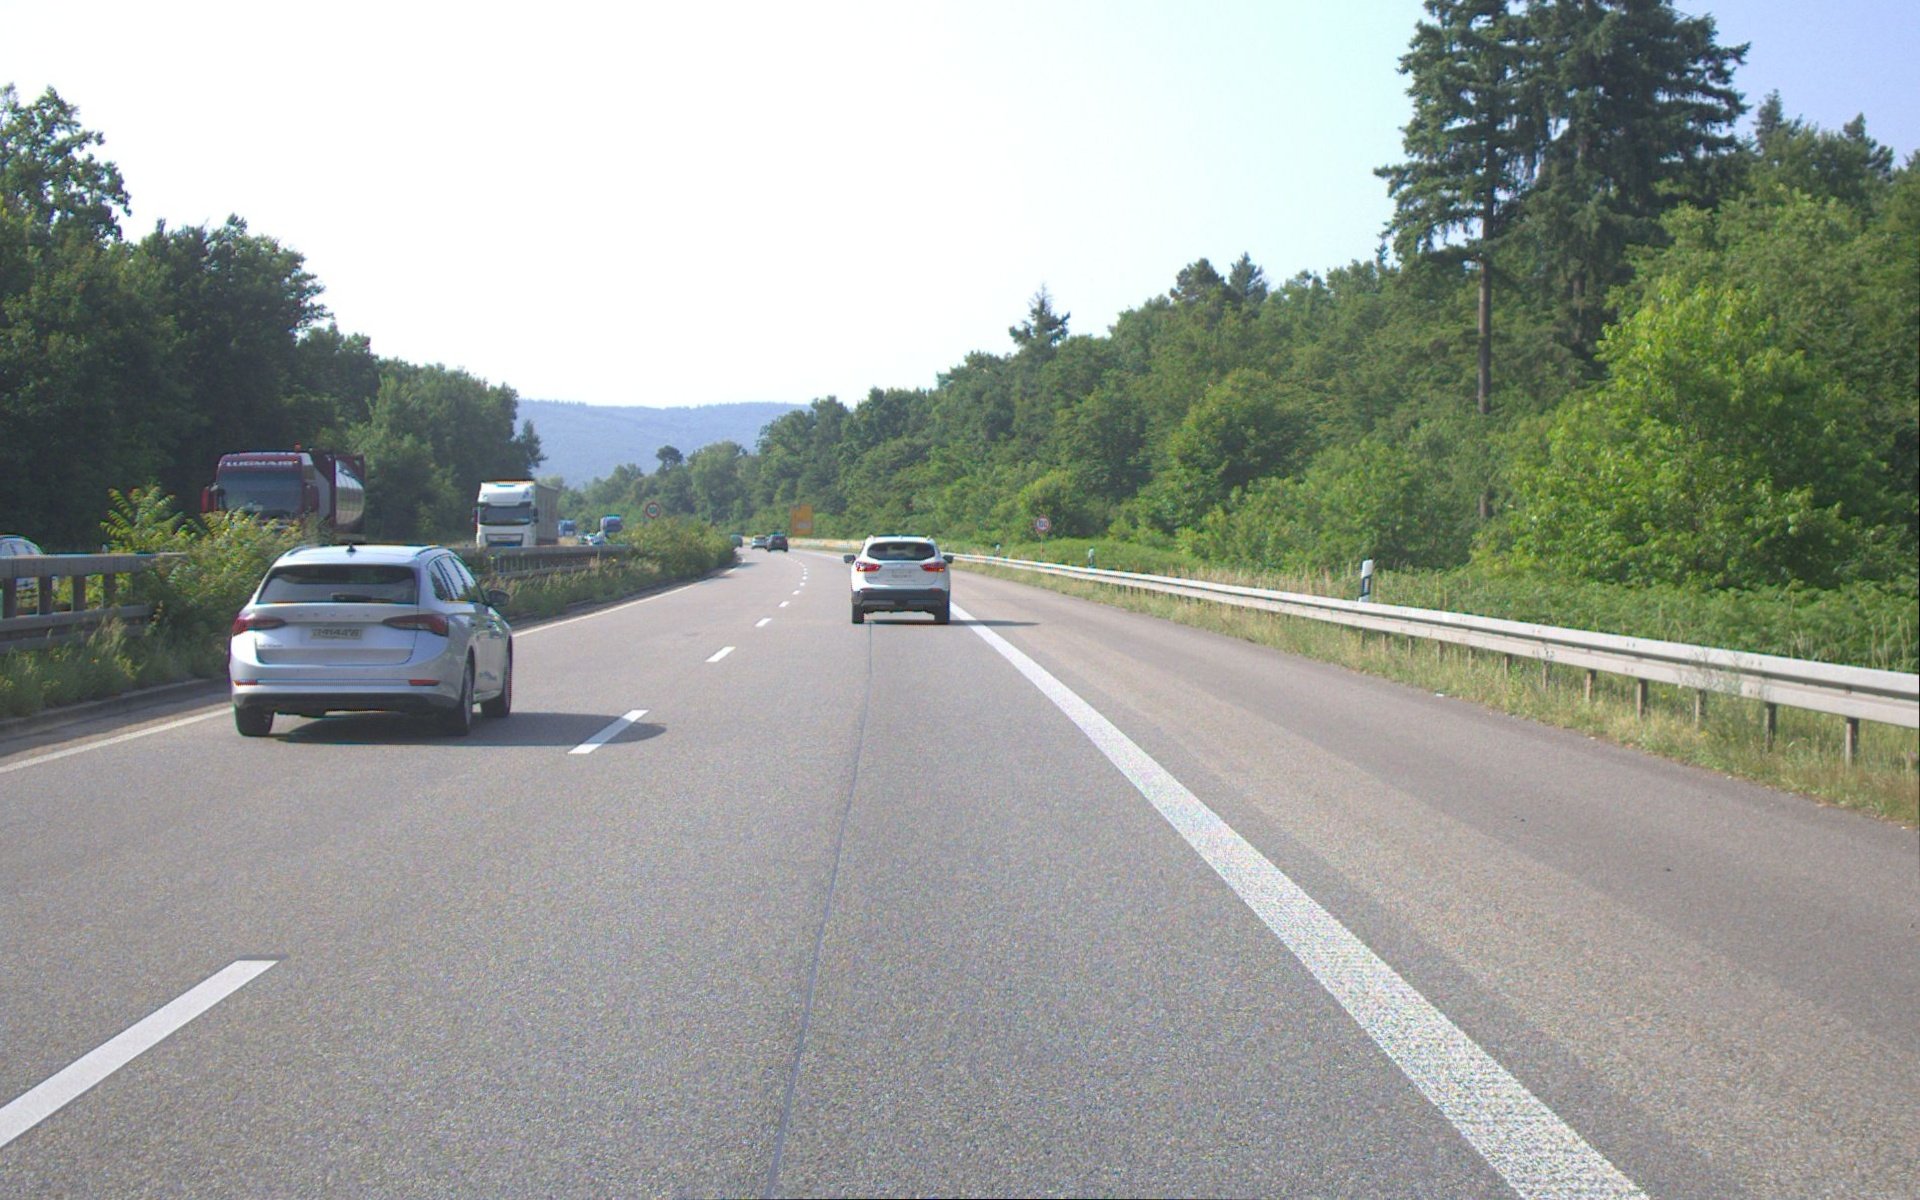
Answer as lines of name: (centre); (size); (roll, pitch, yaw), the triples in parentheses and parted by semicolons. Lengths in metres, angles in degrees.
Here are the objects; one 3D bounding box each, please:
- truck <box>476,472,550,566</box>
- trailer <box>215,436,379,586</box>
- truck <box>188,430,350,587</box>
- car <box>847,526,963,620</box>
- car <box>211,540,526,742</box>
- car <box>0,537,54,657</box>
truck: (-20.529, -3.712, 158.111); (2.837, 4.181, 5.547); (0, 1, -3)
trailer: (-18.700, -2.450, 97.478); (3.294, 4.025, 8.374); (1, 1, -2)
truck: (-18.504, -2.410, 92.405); (3.266, 4.025, 6.234); (1, 1, -2)
car: (-1.052, -0.523, 63.280); (1.873, 1.580, 4.001); (2, 1, -4)
car: (-4.633, 0.251, 27.633); (1.792, 1.433, 5.279); (0, 1, -2)
car: (-12.532, -0.053, 42.305); (1.704, 1.444, 4.583); (1, 1, -2)
